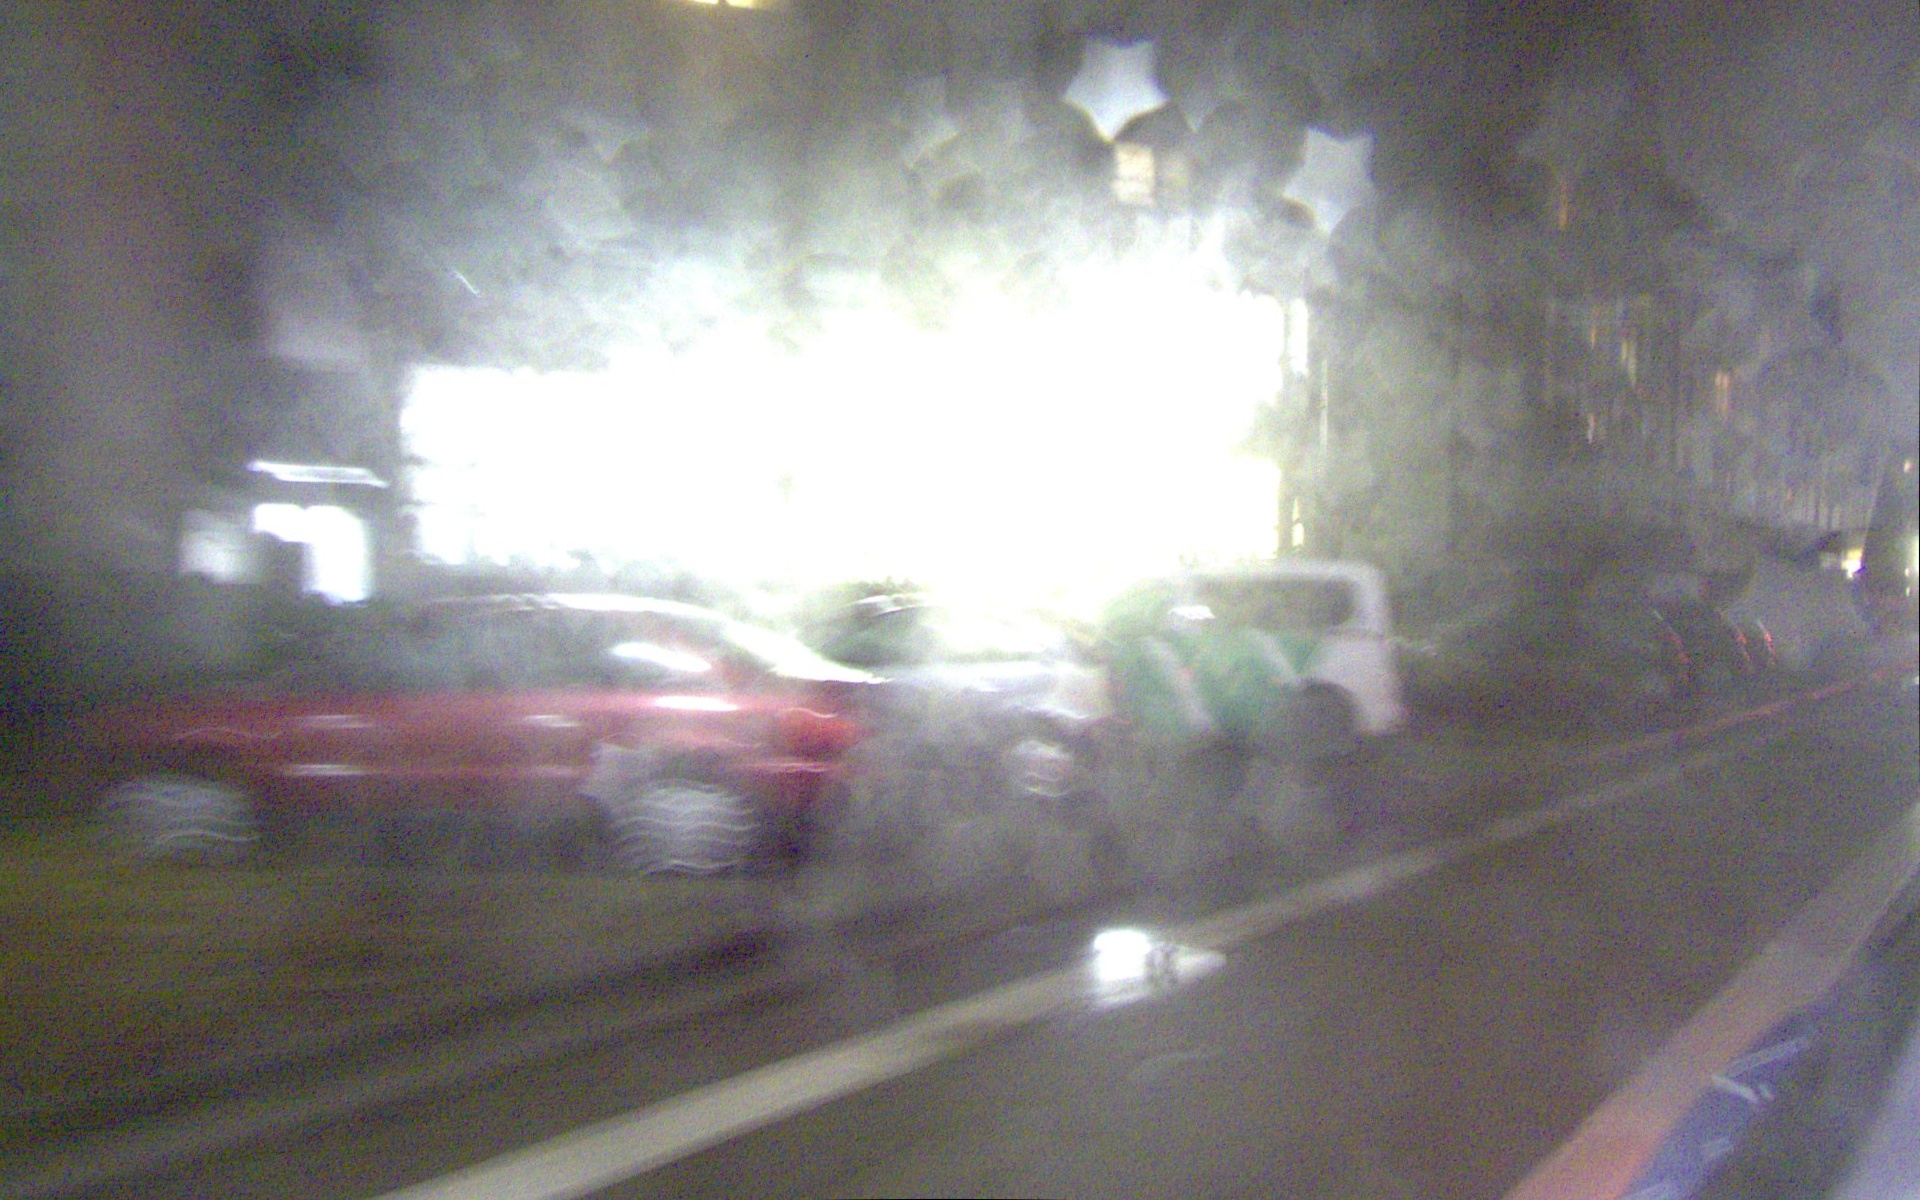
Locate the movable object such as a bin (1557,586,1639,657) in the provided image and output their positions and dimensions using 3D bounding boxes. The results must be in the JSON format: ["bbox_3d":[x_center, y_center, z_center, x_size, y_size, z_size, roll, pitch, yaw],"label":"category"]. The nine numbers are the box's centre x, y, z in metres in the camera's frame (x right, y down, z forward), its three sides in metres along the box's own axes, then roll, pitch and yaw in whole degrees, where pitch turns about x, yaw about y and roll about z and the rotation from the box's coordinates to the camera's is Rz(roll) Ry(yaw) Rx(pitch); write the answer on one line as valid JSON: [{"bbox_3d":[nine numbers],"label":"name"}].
[{"bbox_3d":[13.595,0.429,21.608,1.400,1.424,1.016,1,1,30],"label":"movable object such as a bin"}]

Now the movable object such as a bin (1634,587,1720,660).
[{"bbox_3d":[14.799,0.463,20.932,1.341,1.424,1.016,1,1,30],"label":"movable object such as a bin"}]

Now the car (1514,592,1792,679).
[{"bbox_3d":[12.427,0.625,18.377,3.726,1.476,1.766,-1,0,8],"label":"car"}]

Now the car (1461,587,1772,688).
[{"bbox_3d":[10.462,0.559,16.365,3.785,1.507,1.807,0,1,3],"label":"car"}]

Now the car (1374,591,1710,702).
[{"bbox_3d":[8.108,0.637,14.387,3.768,1.457,1.597,-1,0,6],"label":"car"}]

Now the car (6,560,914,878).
[{"bbox_3d":[-2.516,0.566,5.797,4.375,1.422,1.691,2,0,2],"label":"car"}]

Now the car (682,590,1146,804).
[{"bbox_3d":[-0.281,0.637,7.884,3.290,1.403,1.623,0,0,16],"label":"car"}]

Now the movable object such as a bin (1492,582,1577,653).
[{"bbox_3d":[12.061,0.338,21.250,1.390,1.424,1.027,0,1,-35],"label":"movable object such as a bin"}]

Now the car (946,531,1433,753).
[{"bbox_3d":[2.052,0.390,9.781,4.105,1.863,1.957,-1,-1,9],"label":"car"}]
